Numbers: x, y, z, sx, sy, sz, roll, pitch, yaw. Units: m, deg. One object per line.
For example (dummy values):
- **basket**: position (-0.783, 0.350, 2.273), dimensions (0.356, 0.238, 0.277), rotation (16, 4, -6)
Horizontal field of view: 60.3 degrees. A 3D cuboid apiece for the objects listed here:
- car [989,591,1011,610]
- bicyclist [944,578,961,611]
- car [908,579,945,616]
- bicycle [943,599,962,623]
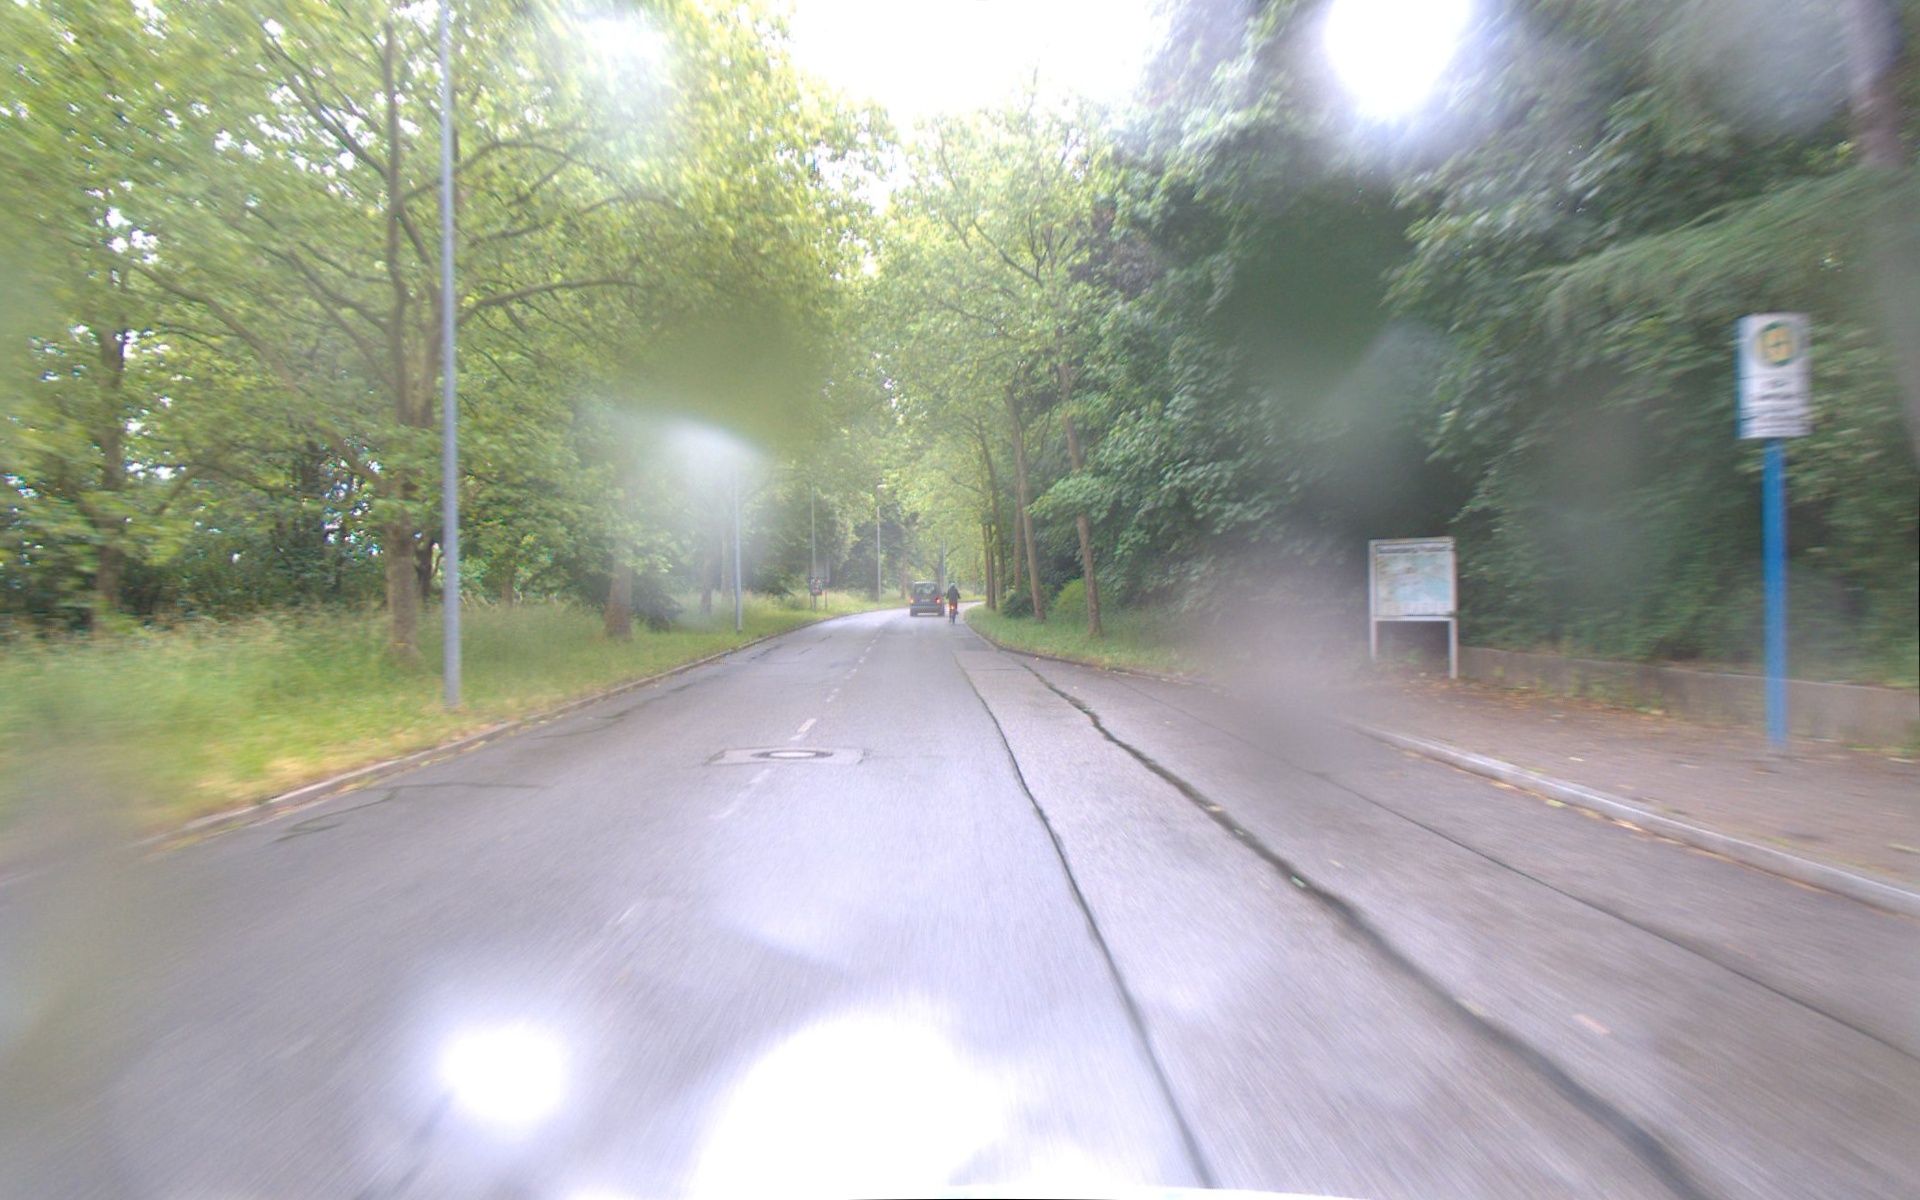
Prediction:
- **car**: position (3.989, 0.072, 164.588), dimensions (1.953, 1.847, 3.999), rotation (1, 0, -1)
- **bicyclist**: position (-0.317, -0.244, 71.685), dimensions (0.714, 1.435, 0.973), rotation (1, 0, 2)
- **car**: position (-1.850, -0.136, 90.477), dimensions (1.946, 1.959, 3.998), rotation (0, 0, -3)
- **bicycle**: position (-0.320, 0.472, 71.787), dimensions (0.714, 0.991, 2.173), rotation (1, 0, 2)
